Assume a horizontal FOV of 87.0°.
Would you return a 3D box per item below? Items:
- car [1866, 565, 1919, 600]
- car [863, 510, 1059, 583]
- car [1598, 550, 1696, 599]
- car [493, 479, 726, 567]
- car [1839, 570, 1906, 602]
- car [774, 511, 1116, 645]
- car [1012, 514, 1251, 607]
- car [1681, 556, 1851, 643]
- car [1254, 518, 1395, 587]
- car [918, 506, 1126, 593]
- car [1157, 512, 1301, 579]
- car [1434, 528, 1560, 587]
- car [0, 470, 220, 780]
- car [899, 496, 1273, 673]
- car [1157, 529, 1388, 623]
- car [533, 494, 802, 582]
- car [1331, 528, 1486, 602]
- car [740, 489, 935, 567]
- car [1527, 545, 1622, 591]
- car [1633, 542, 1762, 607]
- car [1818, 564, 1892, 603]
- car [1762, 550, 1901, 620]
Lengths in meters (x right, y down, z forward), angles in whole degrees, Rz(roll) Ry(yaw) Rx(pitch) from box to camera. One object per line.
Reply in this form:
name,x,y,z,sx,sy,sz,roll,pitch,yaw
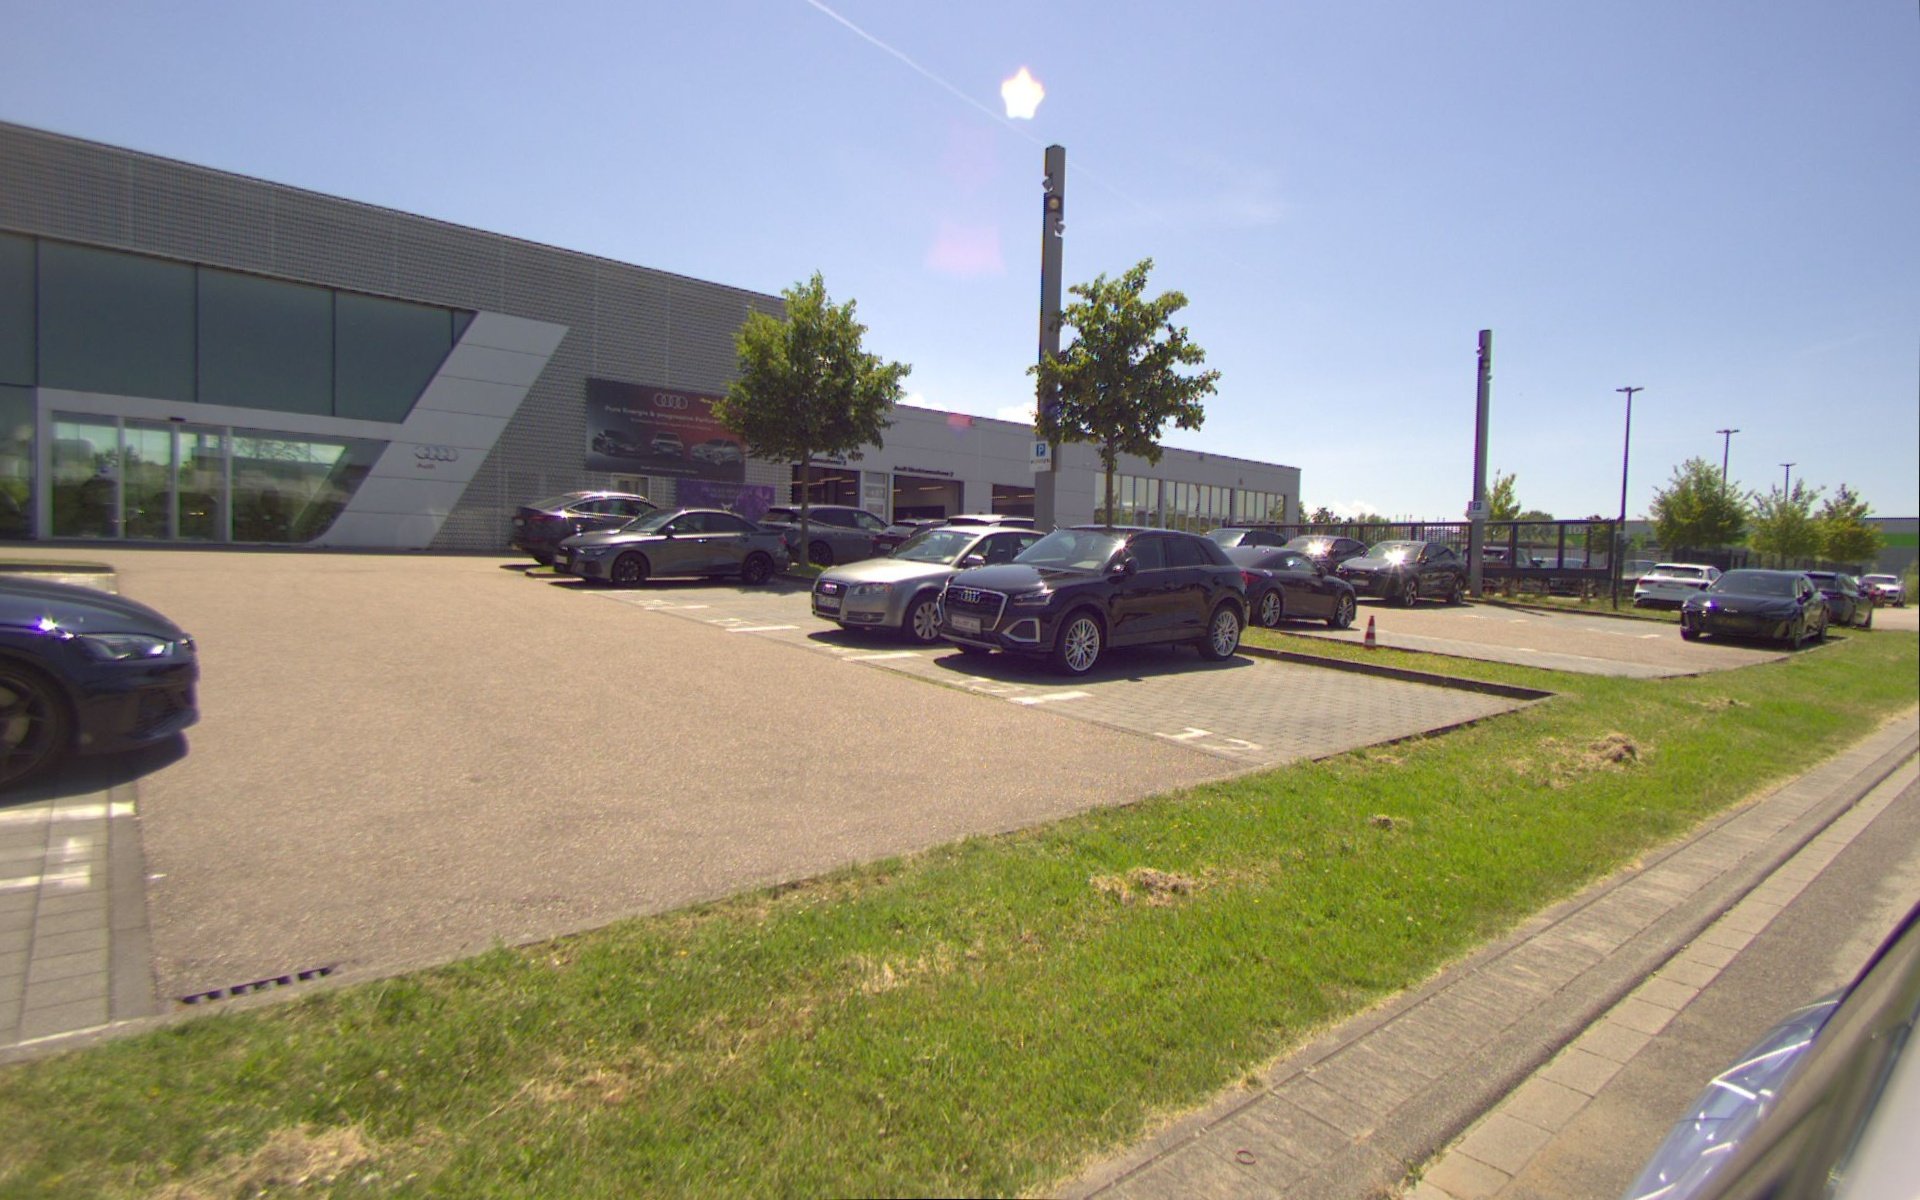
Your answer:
car,49.451,-0.920,53.341,4.318,1.666,1.824,-1,5,-39
car,0.088,-1.211,23.399,4.298,1.494,1.965,-1,5,-42
car,26.006,-0.948,38.272,4.547,1.649,1.965,-1,5,-42
car,-7.553,-1.650,22.001,4.348,1.610,1.968,0,6,-39
car,44.968,-0.706,49.838,4.098,1.373,1.780,-1,5,-39
car,-0.090,-0.317,13.220,4.155,1.382,1.966,-1,6,-42
car,3.486,-0.761,19.924,4.920,1.571,1.965,-1,5,-42
car,16.679,-0.057,20.843,4.938,1.472,1.883,0,5,-42
car,10.350,-1.309,28.600,4.342,1.714,1.828,-1,6,-42
car,1.373,-1.046,21.397,4.215,1.632,1.965,-1,5,-42
car,8.204,-1.613,30.702,4.547,1.762,1.966,-1,7,-42
car,16.726,-1.298,31.435,4.547,1.649,1.965,-1,5,-42
car,-6.122,0.011,4.305,4.638,1.382,1.966,1,5,-42
car,1.549,-0.225,11.509,4.155,1.589,1.892,-1,6,-42
car,5.603,-0.406,17.894,4.238,1.391,1.965,1,4,-42
car,-5.386,-1.130,18.947,4.390,1.382,1.966,-1,6,-42
car,11.728,-0.932,26.324,4.704,1.662,1.828,-1,7,-42
car,-3.076,-1.812,26.050,4.648,1.759,1.965,-1,5,-42
car,24.666,-1.272,40.556,4.547,1.649,1.965,-1,5,-42
car,20.215,-0.688,27.644,4.861,1.546,1.823,-1,5,-42
car,40.824,-0.767,46.115,4.327,1.585,1.780,-1,5,-39
car,21.686,-0.386,25.112,4.861,1.485,1.965,-1,5,-42
